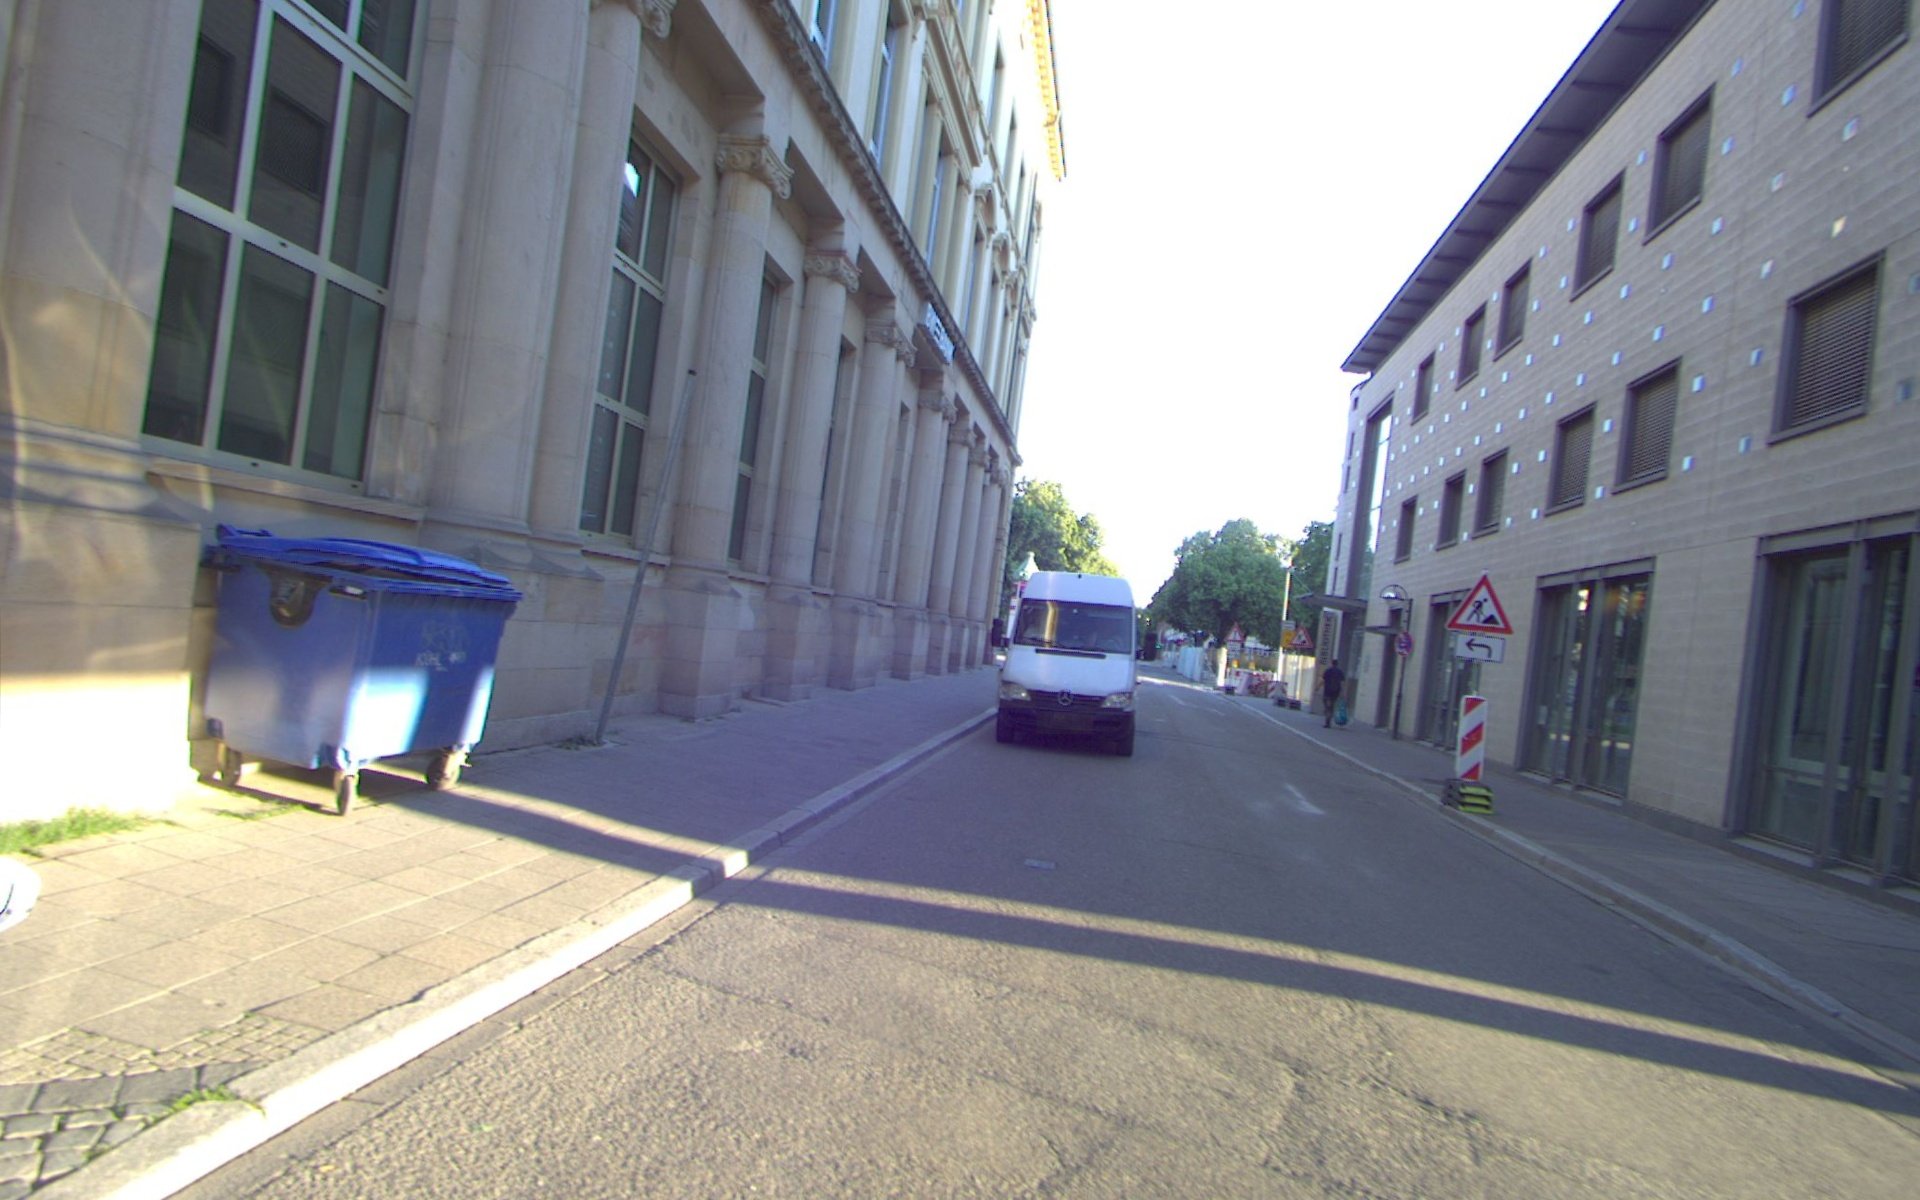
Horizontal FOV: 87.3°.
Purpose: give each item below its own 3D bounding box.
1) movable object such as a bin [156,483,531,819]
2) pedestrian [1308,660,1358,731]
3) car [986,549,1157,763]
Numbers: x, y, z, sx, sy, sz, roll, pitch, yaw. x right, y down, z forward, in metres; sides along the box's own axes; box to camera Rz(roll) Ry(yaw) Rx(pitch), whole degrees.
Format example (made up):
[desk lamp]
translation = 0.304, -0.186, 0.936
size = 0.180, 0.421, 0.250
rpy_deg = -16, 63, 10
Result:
[movable object such as a bin]
translation = -3.301, 0.264, 5.524
size = 1.057, 1.492, 1.188
rpy_deg = 9, 0, 13
[pedestrian]
translation = 9.736, 2.479, 26.303
size = 0.908, 1.723, 0.869
rpy_deg = 7, 0, 9
[car]
translation = 1.830, 0.805, 15.876
size = 1.964, 2.543, 6.475
rpy_deg = 4, -1, 8
